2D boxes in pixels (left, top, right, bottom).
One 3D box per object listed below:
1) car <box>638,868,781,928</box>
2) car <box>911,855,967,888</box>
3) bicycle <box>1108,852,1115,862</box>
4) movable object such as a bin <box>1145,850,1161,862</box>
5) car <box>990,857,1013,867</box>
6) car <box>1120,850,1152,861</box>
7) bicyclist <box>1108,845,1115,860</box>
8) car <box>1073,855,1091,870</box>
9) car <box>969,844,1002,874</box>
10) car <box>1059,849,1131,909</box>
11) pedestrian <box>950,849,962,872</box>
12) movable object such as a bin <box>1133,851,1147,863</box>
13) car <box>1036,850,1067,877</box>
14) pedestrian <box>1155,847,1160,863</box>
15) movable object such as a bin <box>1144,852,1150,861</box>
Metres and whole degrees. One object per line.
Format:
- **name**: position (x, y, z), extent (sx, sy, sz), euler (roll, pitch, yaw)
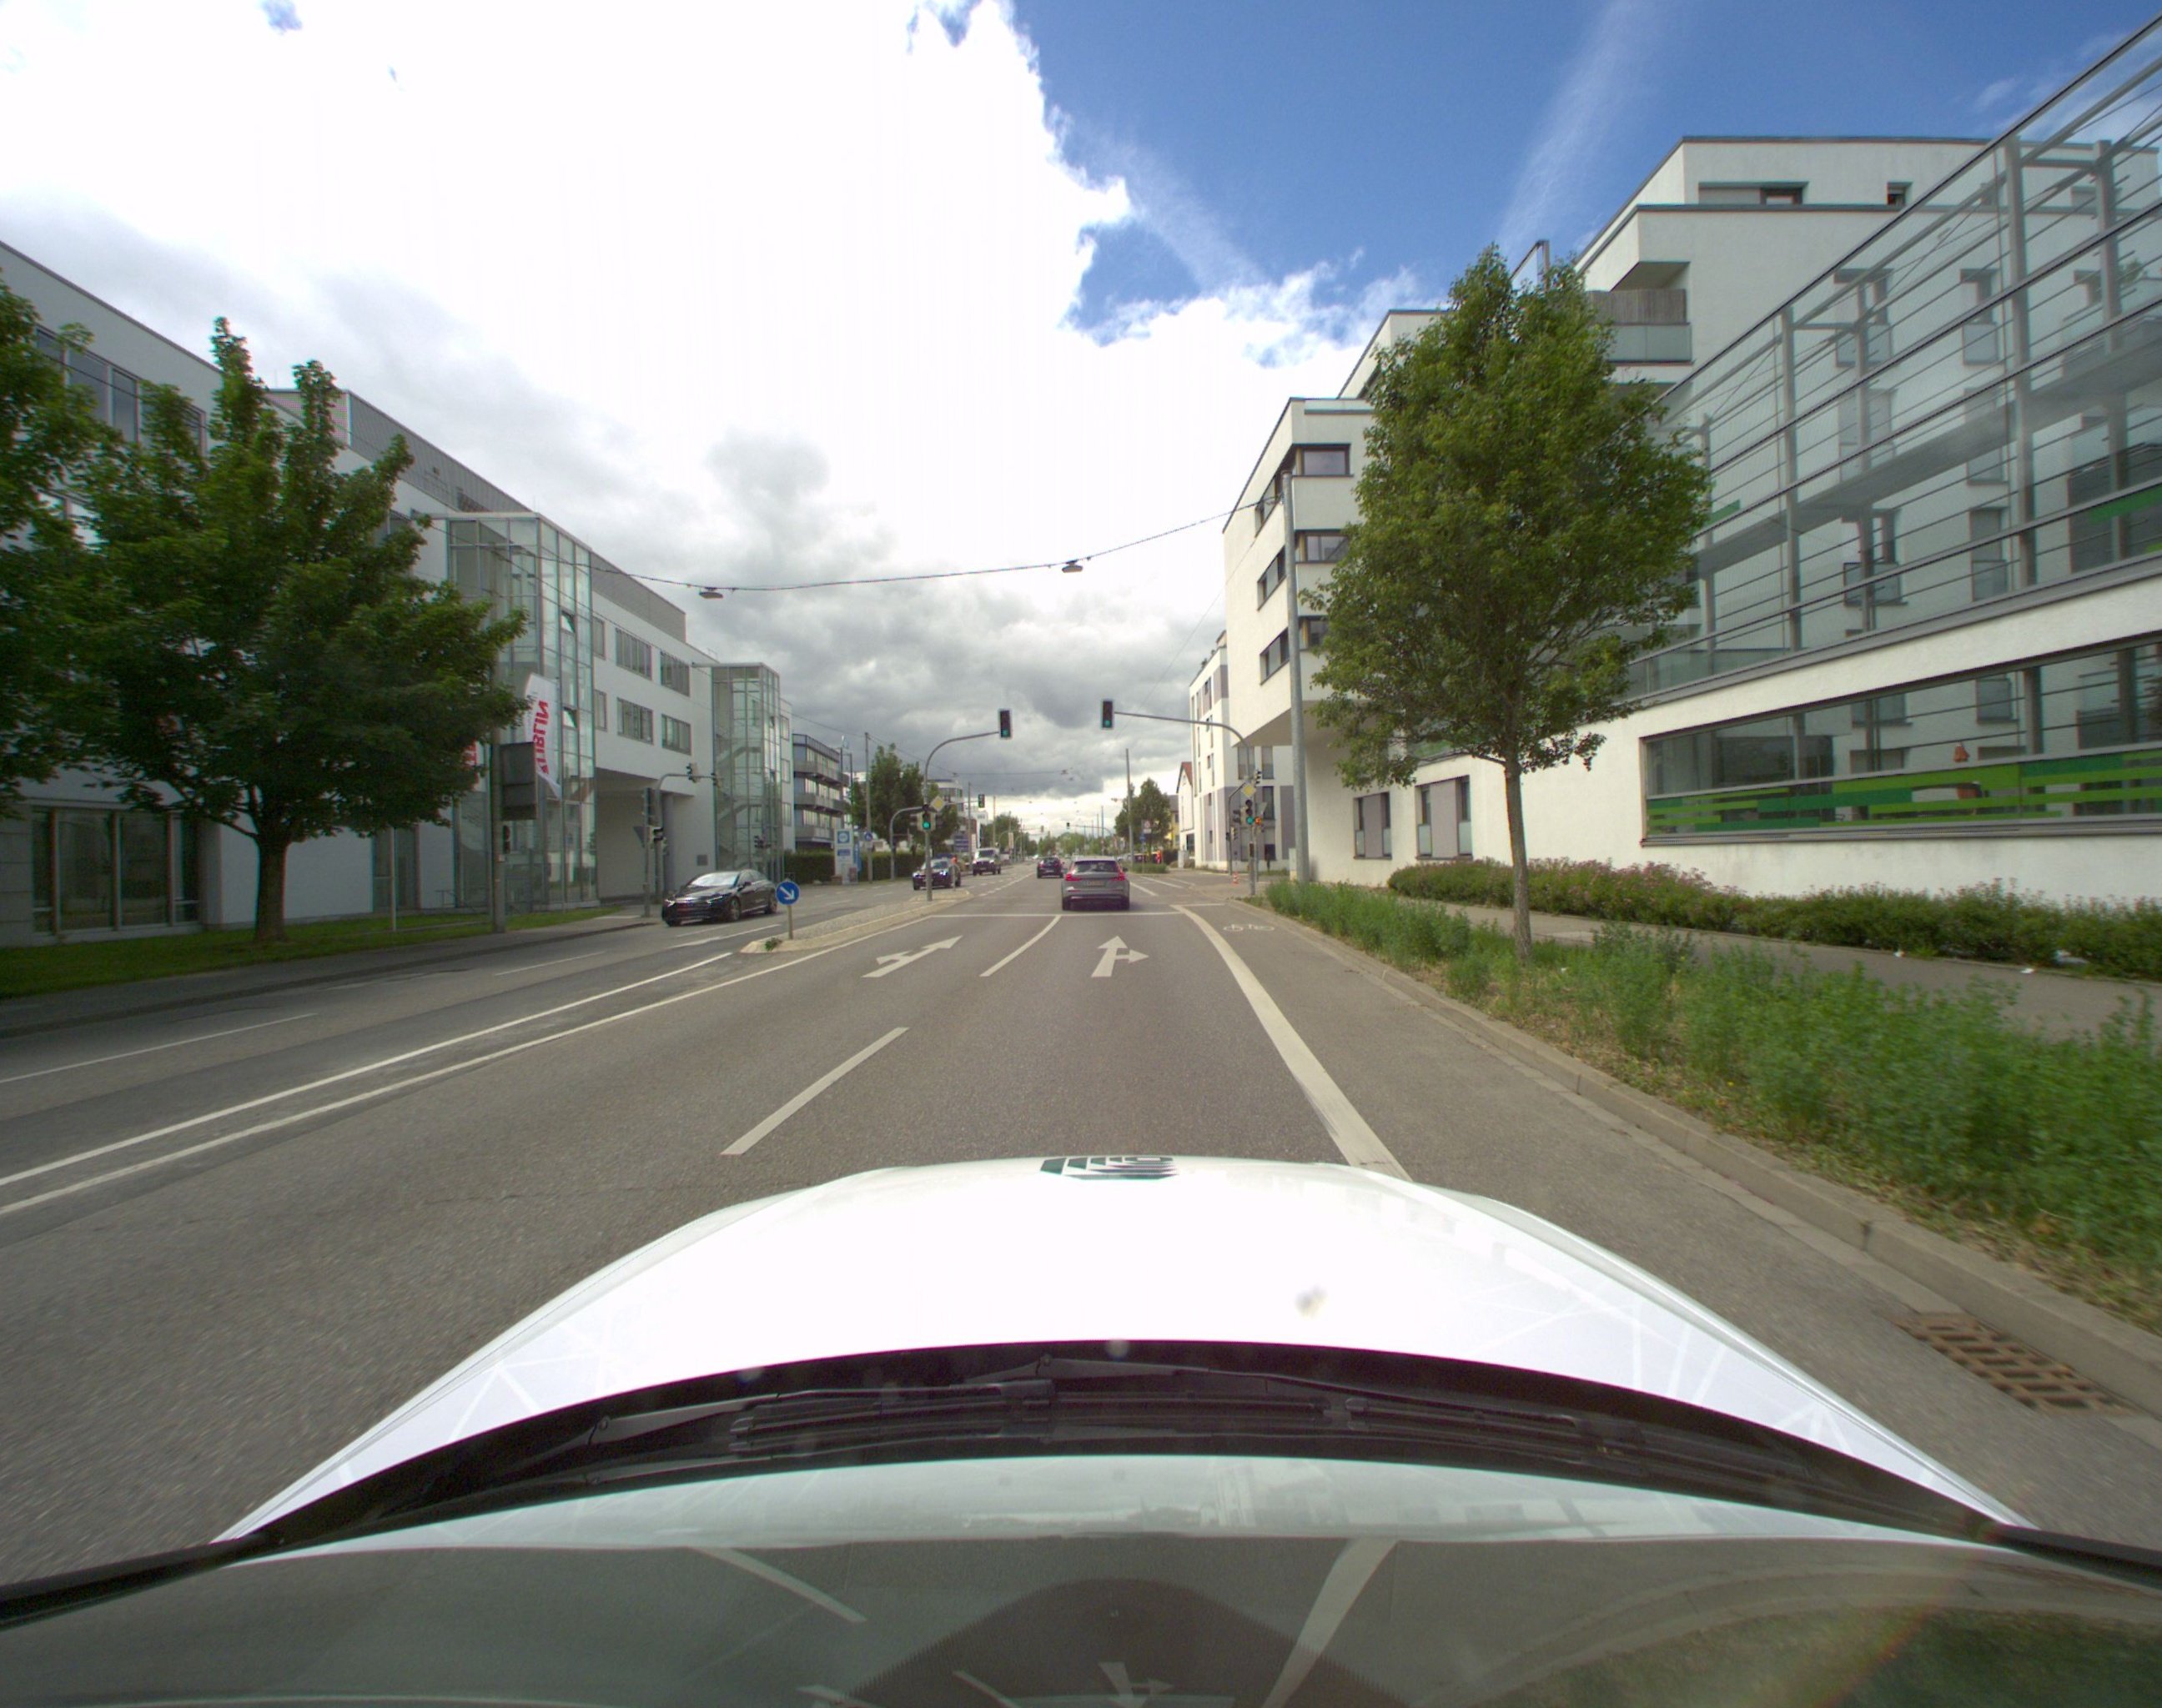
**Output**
- **car**: position (-10.860, 1.216, 24.285), extent (2.019, 1.445, 5.045), euler (-4, 0, -2)
- **car**: position (-7.380, 0.918, 42.672), extent (1.878, 1.552, 4.542), euler (-3, -1, 2)
- **bicycle**: position (3.522, 0.336, 92.856), extent (0.636, 1.063, 1.977), euler (-5, 0, 0)
- **movable object such as a bin**: position (8.414, 0.244, 95.454), extent (1.306, 1.435, 1.259), euler (-3, -2, 36)
- **car**: position (-15.112, 1.517, 154.773), extent (4.091, 1.397, 1.903), euler (-7, 1, -8)
- **car**: position (8.335, 0.244, 124.200), extent (4.683, 1.493, 2.044), euler (-1, 0, -2)
- **bicyclist**: position (3.478, -0.126, 93.070), extent (0.636, 1.675, 0.890), euler (-5, 0, 0)
- **car**: position (0.060, 0.938, 93.988), extent (1.988, 1.695, 3.998), euler (0, -1, -1)
- **car**: position (-8.649, 0.430, 74.555), extent (2.135, 2.471, 6.073), euler (-3, 0, 0)
- **car**: position (0.377, 0.689, 23.370), extent (1.889, 1.554, 3.999), euler (0, -1, 0)
- **pedestrian**: position (-11.430, 0.596, 74.705), extent (0.717, 2.014, 0.815), euler (-1, -2, 42)
- **movable object such as a bin**: position (6.881, 0.365, 95.109), extent (1.309, 1.361, 1.256), euler (-2, -1, 15)
- **car**: position (-2.010, 0.655, 55.345), extent (1.989, 1.717, 3.996), euler (0, -1, -3)
- **pedestrian**: position (8.826, 0.103, 93.553), extent (0.503, 1.765, 0.503), euler (0, -1, 16)
- **movable object such as a bin**: position (7.818, 0.250, 96.024), extent (0.561, 1.026, 0.408), euler (-3, -2, 36)
